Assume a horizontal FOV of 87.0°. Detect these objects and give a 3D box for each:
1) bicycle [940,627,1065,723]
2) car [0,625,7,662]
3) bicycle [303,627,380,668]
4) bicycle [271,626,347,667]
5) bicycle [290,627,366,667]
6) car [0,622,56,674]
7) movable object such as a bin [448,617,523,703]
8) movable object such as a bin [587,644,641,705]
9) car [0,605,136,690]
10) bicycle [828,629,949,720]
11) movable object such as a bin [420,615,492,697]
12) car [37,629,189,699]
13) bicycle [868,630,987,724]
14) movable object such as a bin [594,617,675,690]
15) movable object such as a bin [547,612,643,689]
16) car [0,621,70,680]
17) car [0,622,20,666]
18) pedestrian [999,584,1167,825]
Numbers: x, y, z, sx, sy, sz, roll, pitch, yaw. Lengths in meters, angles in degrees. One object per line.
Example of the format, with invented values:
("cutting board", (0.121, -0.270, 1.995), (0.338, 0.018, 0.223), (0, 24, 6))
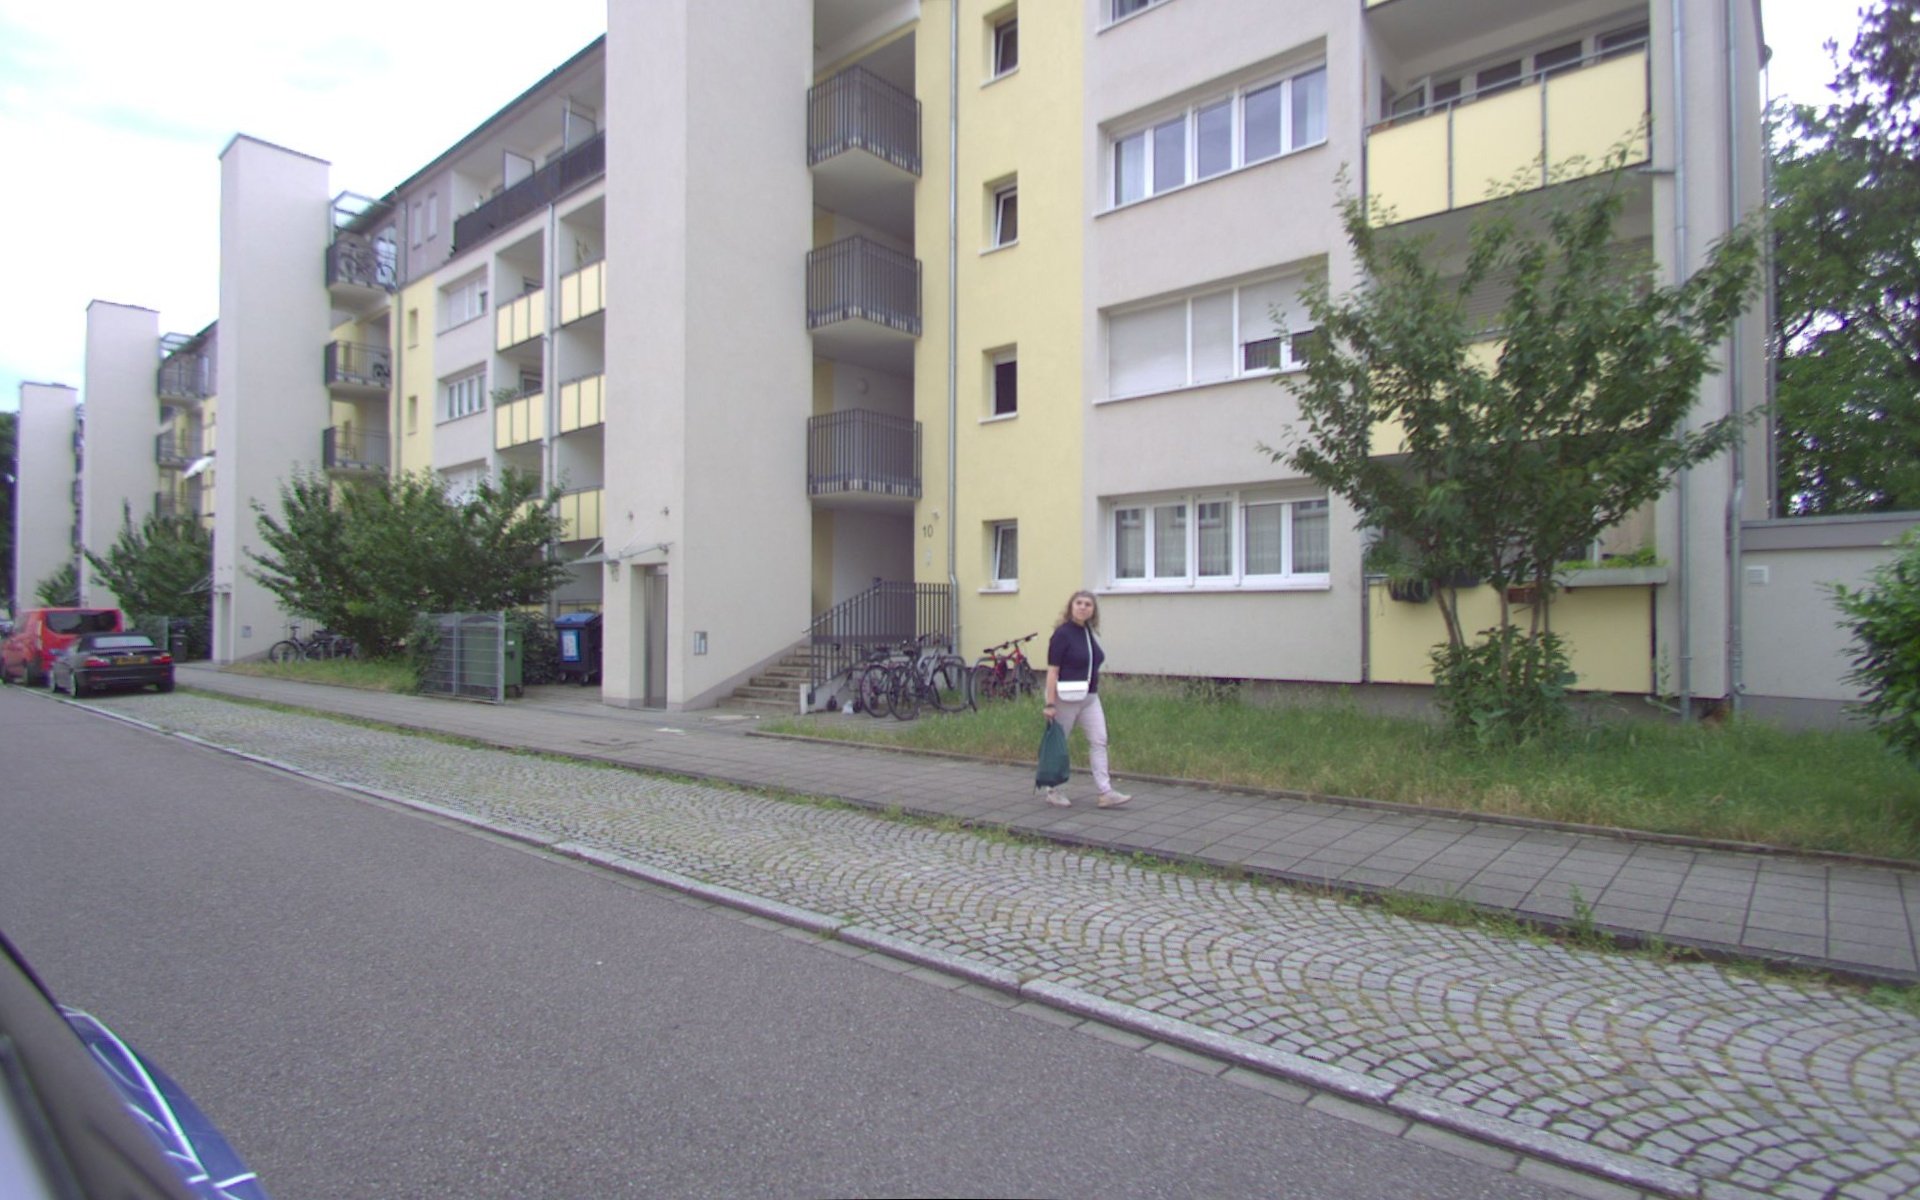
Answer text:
("bicycle", (0.601, 0.947, 13.424), (0.622, 1.150, 2.003), (-1, -2, 37))
("car", (-39.926, 1.782, 40.947), (3.855, 1.449, 1.626), (-1, 0, 41))
("bicycle", (-17.892, 1.366, 29.308), (1.812, 1.127, 0.571), (1, -2, -43))
("bicycle", (-19.359, 1.373, 30.130), (0.604, 1.127, 1.816), (-1, -1, 39))
("bicycle", (-18.660, 1.380, 29.911), (0.570, 1.127, 1.814), (-2, -2, 42))
("car", (-31.520, 1.550, 33.340), (4.856, 1.582, 1.817), (-1, 0, 39))
("movable object such as a bin", (-8.327, 1.025, 17.755), (1.288, 1.440, 0.794), (-1, -1, 45))
("movable object such as a bin", (-5.803, 1.235, 16.987), (0.652, 0.972, 0.629), (-1, -2, 41))
("car", (-23.525, 1.182, 26.436), (4.916, 1.968, 2.130), (-1, 0, 39))
("bicycle", (-0.941, 0.978, 13.922), (0.621, 1.150, 2.008), (-1, -1, 31))
("movable object such as a bin", (-9.300, 1.008, 18.667), (1.288, 1.440, 0.794), (-1, -1, 44))
("car", (-18.890, 1.341, 22.499), (4.358, 1.333, 1.851), (-1, 0, 40))
("bicycle", (-0.394, 0.986, 13.604), (0.621, 1.150, 2.008), (-1, -1, 31))
("movable object such as a bin", (-6.330, 1.010, 19.673), (1.287, 1.350, 0.969), (-1, -1, 41))
("movable object such as a bin", (-7.418, 0.990, 20.587), (1.371, 1.475, 1.338), (-1, -1, 40))
("car", (-27.816, 1.451, 29.950), (4.052, 1.582, 1.703), (-1, 0, 41))
("car", (-35.806, 1.605, 37.148), (3.895, 1.542, 1.635), (-1, 0, 43))
("pedestrian", (0.902, 0.713, 7.410), (0.945, 1.622, 0.792), (-1, -1, 37))
